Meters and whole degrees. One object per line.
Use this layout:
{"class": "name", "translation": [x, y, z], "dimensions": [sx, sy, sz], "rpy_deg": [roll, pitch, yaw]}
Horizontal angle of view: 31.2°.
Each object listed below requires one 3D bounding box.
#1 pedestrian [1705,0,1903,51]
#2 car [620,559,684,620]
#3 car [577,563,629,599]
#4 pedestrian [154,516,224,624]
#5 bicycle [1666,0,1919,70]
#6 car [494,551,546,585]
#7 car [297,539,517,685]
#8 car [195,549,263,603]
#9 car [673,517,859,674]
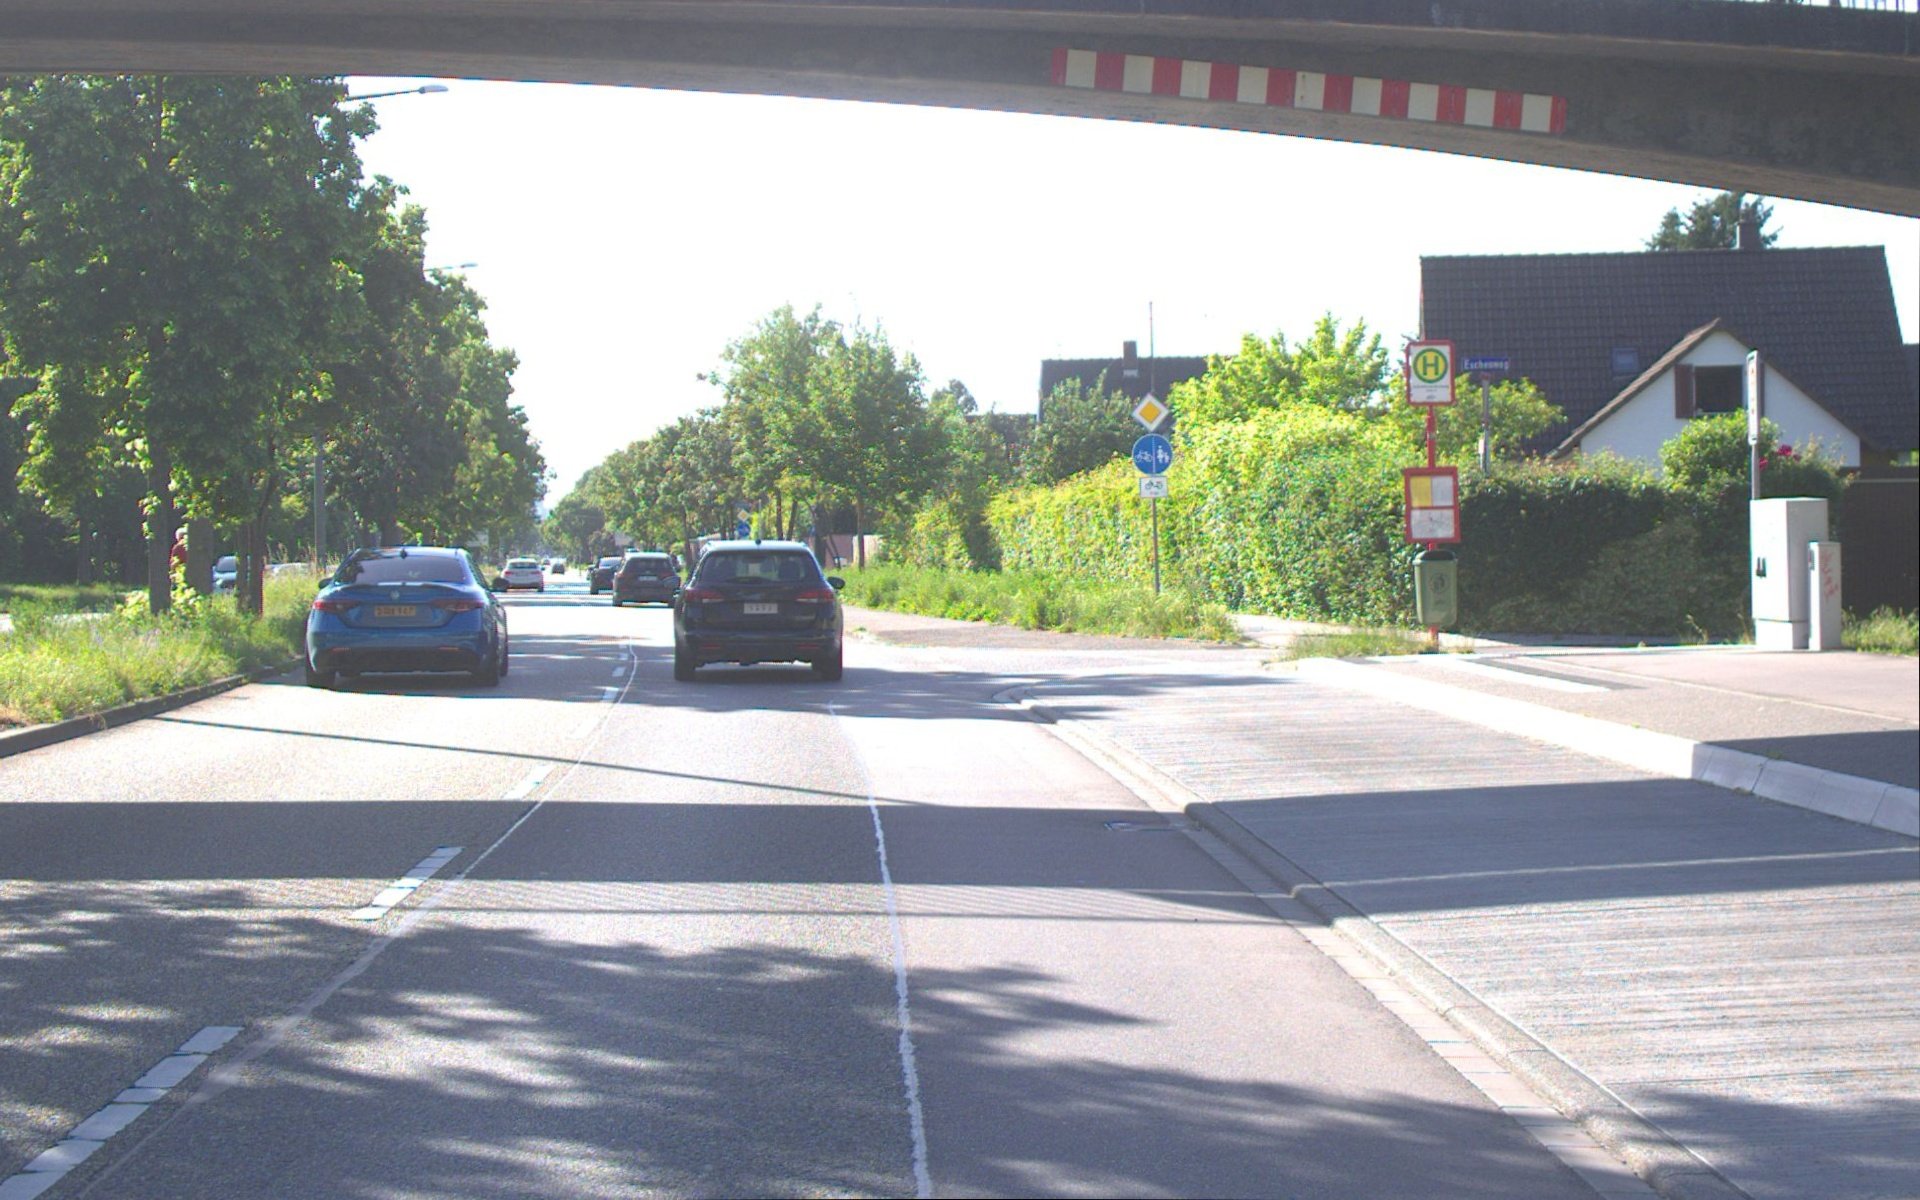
{"class": "pedestrian", "translation": [5.785, -4.903, 23.639], "dimensions": [1.065, 2.116, 0.997], "rpy_deg": [-1, 1, -4]}
{"class": "car", "translation": [-8.559, -0.310, 95.322], "dimensions": [1.743, 1.592, 4.176], "rpy_deg": [0, 1, -6]}
{"class": "car", "translation": [-14.145, -0.760, 136.037], "dimensions": [1.898, 1.351, 4.001], "rpy_deg": [-1, 1, -8]}
{"class": "pedestrian", "translation": [-12.195, -0.482, 54.374], "dimensions": [0.631, 1.691, 0.942], "rpy_deg": [0, 1, 24]}
{"class": "bicycle", "translation": [5.960, -4.277, 23.692], "dimensions": [1.988, 1.103, 0.728], "rpy_deg": [1, 1, -4]}
{"class": "car", "translation": [-19.097, -1.399, 148.954], "dimensions": [1.978, 1.435, 4.001], "rpy_deg": [-1, 1, -11]}
{"class": "car", "translation": [-5.648, 0.080, 35.523], "dimensions": [1.994, 1.400, 4.001], "rpy_deg": [0, 1, -6]}
{"class": "car", "translation": [-23.046, -0.769, 108.451], "dimensions": [1.730, 1.626, 4.199], "rpy_deg": [-1, 1, -7]}
{"class": "car", "translation": [-2.136, -0.050, 36.932], "dimensions": [1.760, 1.554, 4.001], "rpy_deg": [1, 0, -6]}
